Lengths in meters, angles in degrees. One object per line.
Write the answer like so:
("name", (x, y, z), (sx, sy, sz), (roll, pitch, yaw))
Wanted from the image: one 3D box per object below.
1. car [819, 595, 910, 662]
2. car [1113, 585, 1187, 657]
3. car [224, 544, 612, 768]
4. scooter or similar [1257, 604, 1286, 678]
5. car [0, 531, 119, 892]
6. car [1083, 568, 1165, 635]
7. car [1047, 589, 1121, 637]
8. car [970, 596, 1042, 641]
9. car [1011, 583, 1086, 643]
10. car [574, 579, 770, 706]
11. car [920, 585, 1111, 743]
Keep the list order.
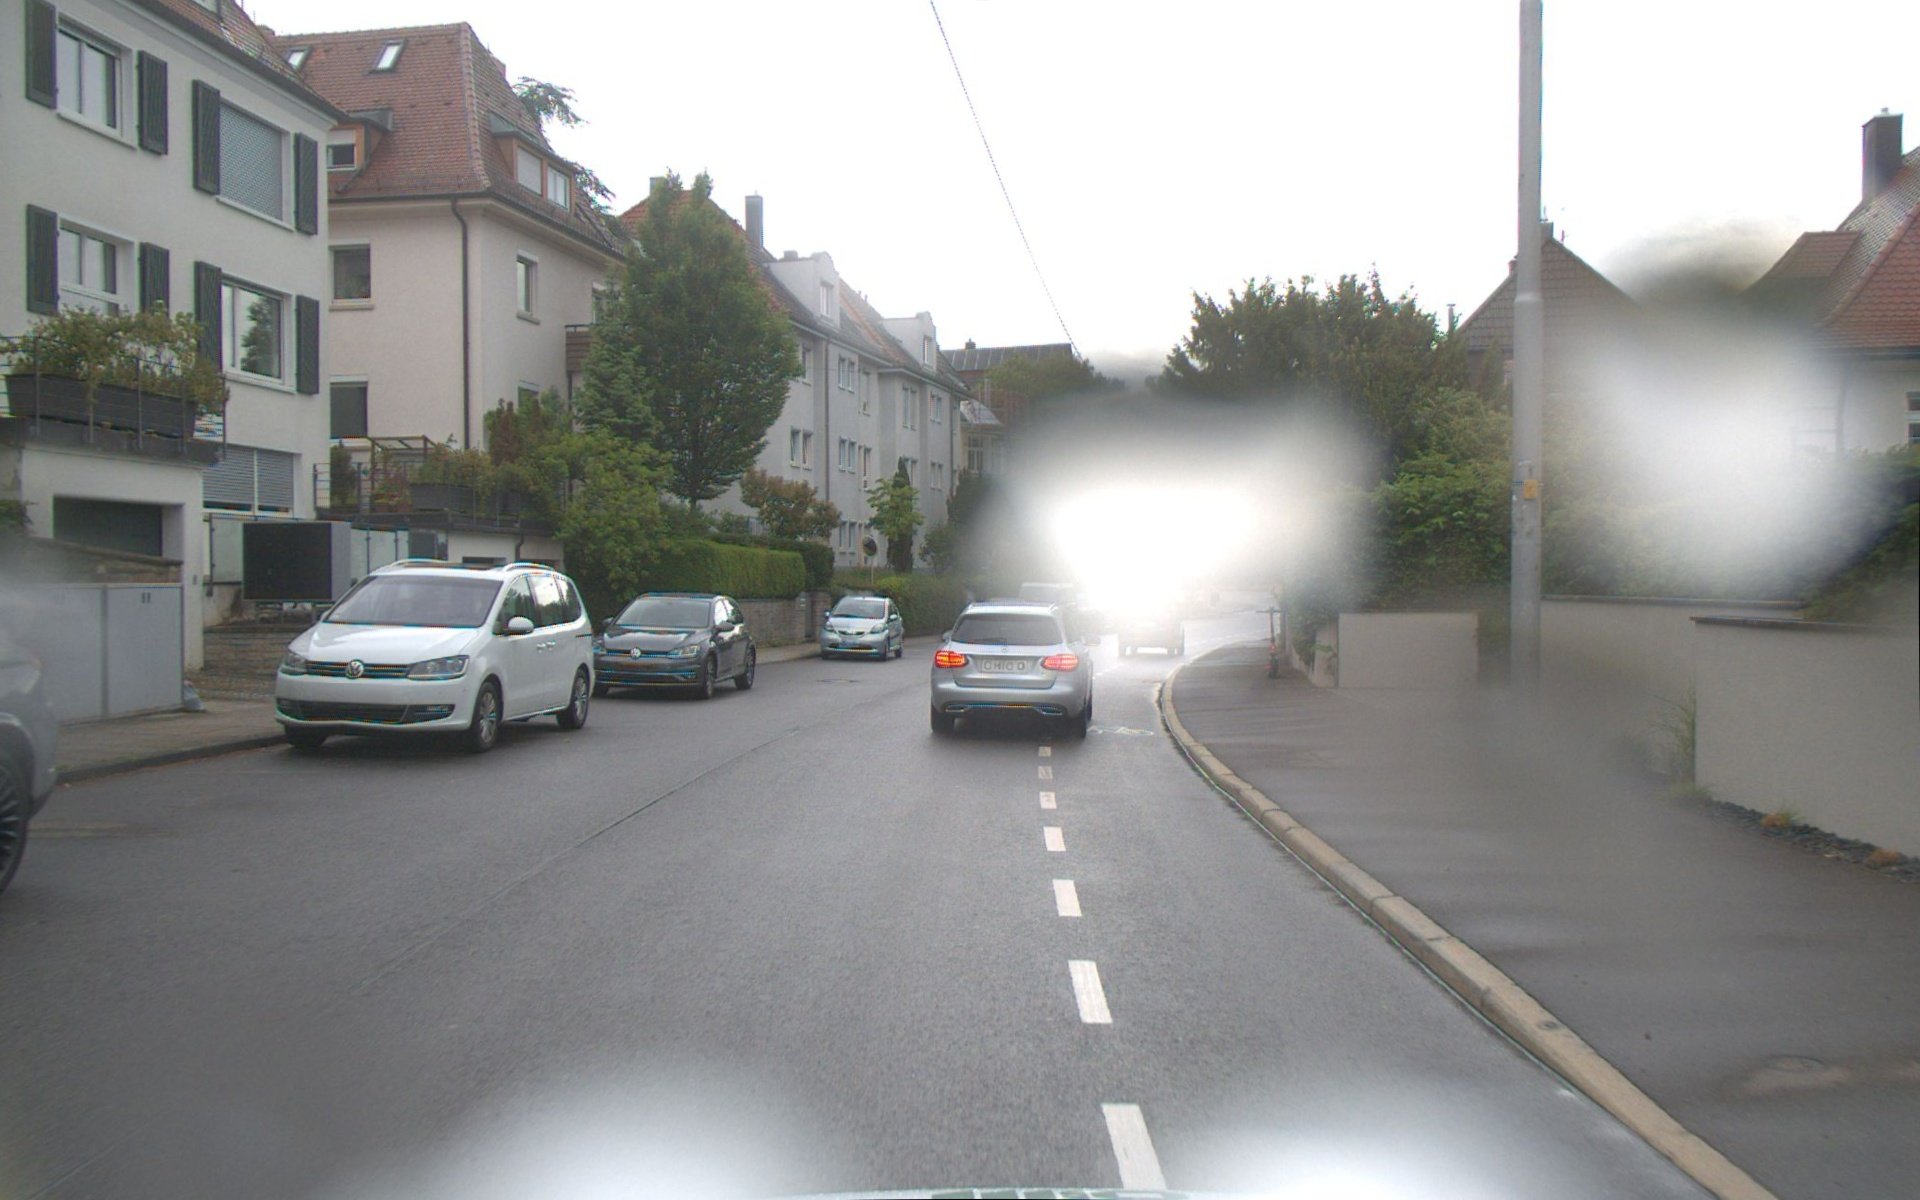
("car", (-2.258, 0.662, 39.890), (1.571, 1.512, 3.490), (1, 0, 7))
("car", (5.536, 0.588, 47.816), (1.803, 1.937, 4.003), (1, 0, 10))
("car", (-4.998, 0.438, 16.085), (1.952, 1.731, 4.740), (3, 1, 2))
("scooter or similar", (5.788, 0.753, 30.745), (0.440, 1.330, 1.483), (-1, -1, 7))
("car", (-5.250, 0.465, 5.895), (1.953, 1.608, 4.762), (3, 1, 1))
("car", (7.561, -0.011, 75.682), (2.341, 2.820, 6.535), (2, 2, 18))
("car", (5.164, 0.484, 68.389), (1.952, 1.717, 4.679), (2, 3, 18))
("car", (1.639, 0.603, 57.174), (1.608, 1.442, 4.617), (2, 1, 12))
("car", (3.388, 0.485, 62.593), (1.790, 2.092, 5.013), (2, 0, 15))
("car", (-4.147, 0.558, 24.481), (1.754, 1.608, 4.141), (3, 1, 5))
("car", (0.758, 0.651, 19.412), (1.777, 1.583, 4.003), (2, 1, 8))
